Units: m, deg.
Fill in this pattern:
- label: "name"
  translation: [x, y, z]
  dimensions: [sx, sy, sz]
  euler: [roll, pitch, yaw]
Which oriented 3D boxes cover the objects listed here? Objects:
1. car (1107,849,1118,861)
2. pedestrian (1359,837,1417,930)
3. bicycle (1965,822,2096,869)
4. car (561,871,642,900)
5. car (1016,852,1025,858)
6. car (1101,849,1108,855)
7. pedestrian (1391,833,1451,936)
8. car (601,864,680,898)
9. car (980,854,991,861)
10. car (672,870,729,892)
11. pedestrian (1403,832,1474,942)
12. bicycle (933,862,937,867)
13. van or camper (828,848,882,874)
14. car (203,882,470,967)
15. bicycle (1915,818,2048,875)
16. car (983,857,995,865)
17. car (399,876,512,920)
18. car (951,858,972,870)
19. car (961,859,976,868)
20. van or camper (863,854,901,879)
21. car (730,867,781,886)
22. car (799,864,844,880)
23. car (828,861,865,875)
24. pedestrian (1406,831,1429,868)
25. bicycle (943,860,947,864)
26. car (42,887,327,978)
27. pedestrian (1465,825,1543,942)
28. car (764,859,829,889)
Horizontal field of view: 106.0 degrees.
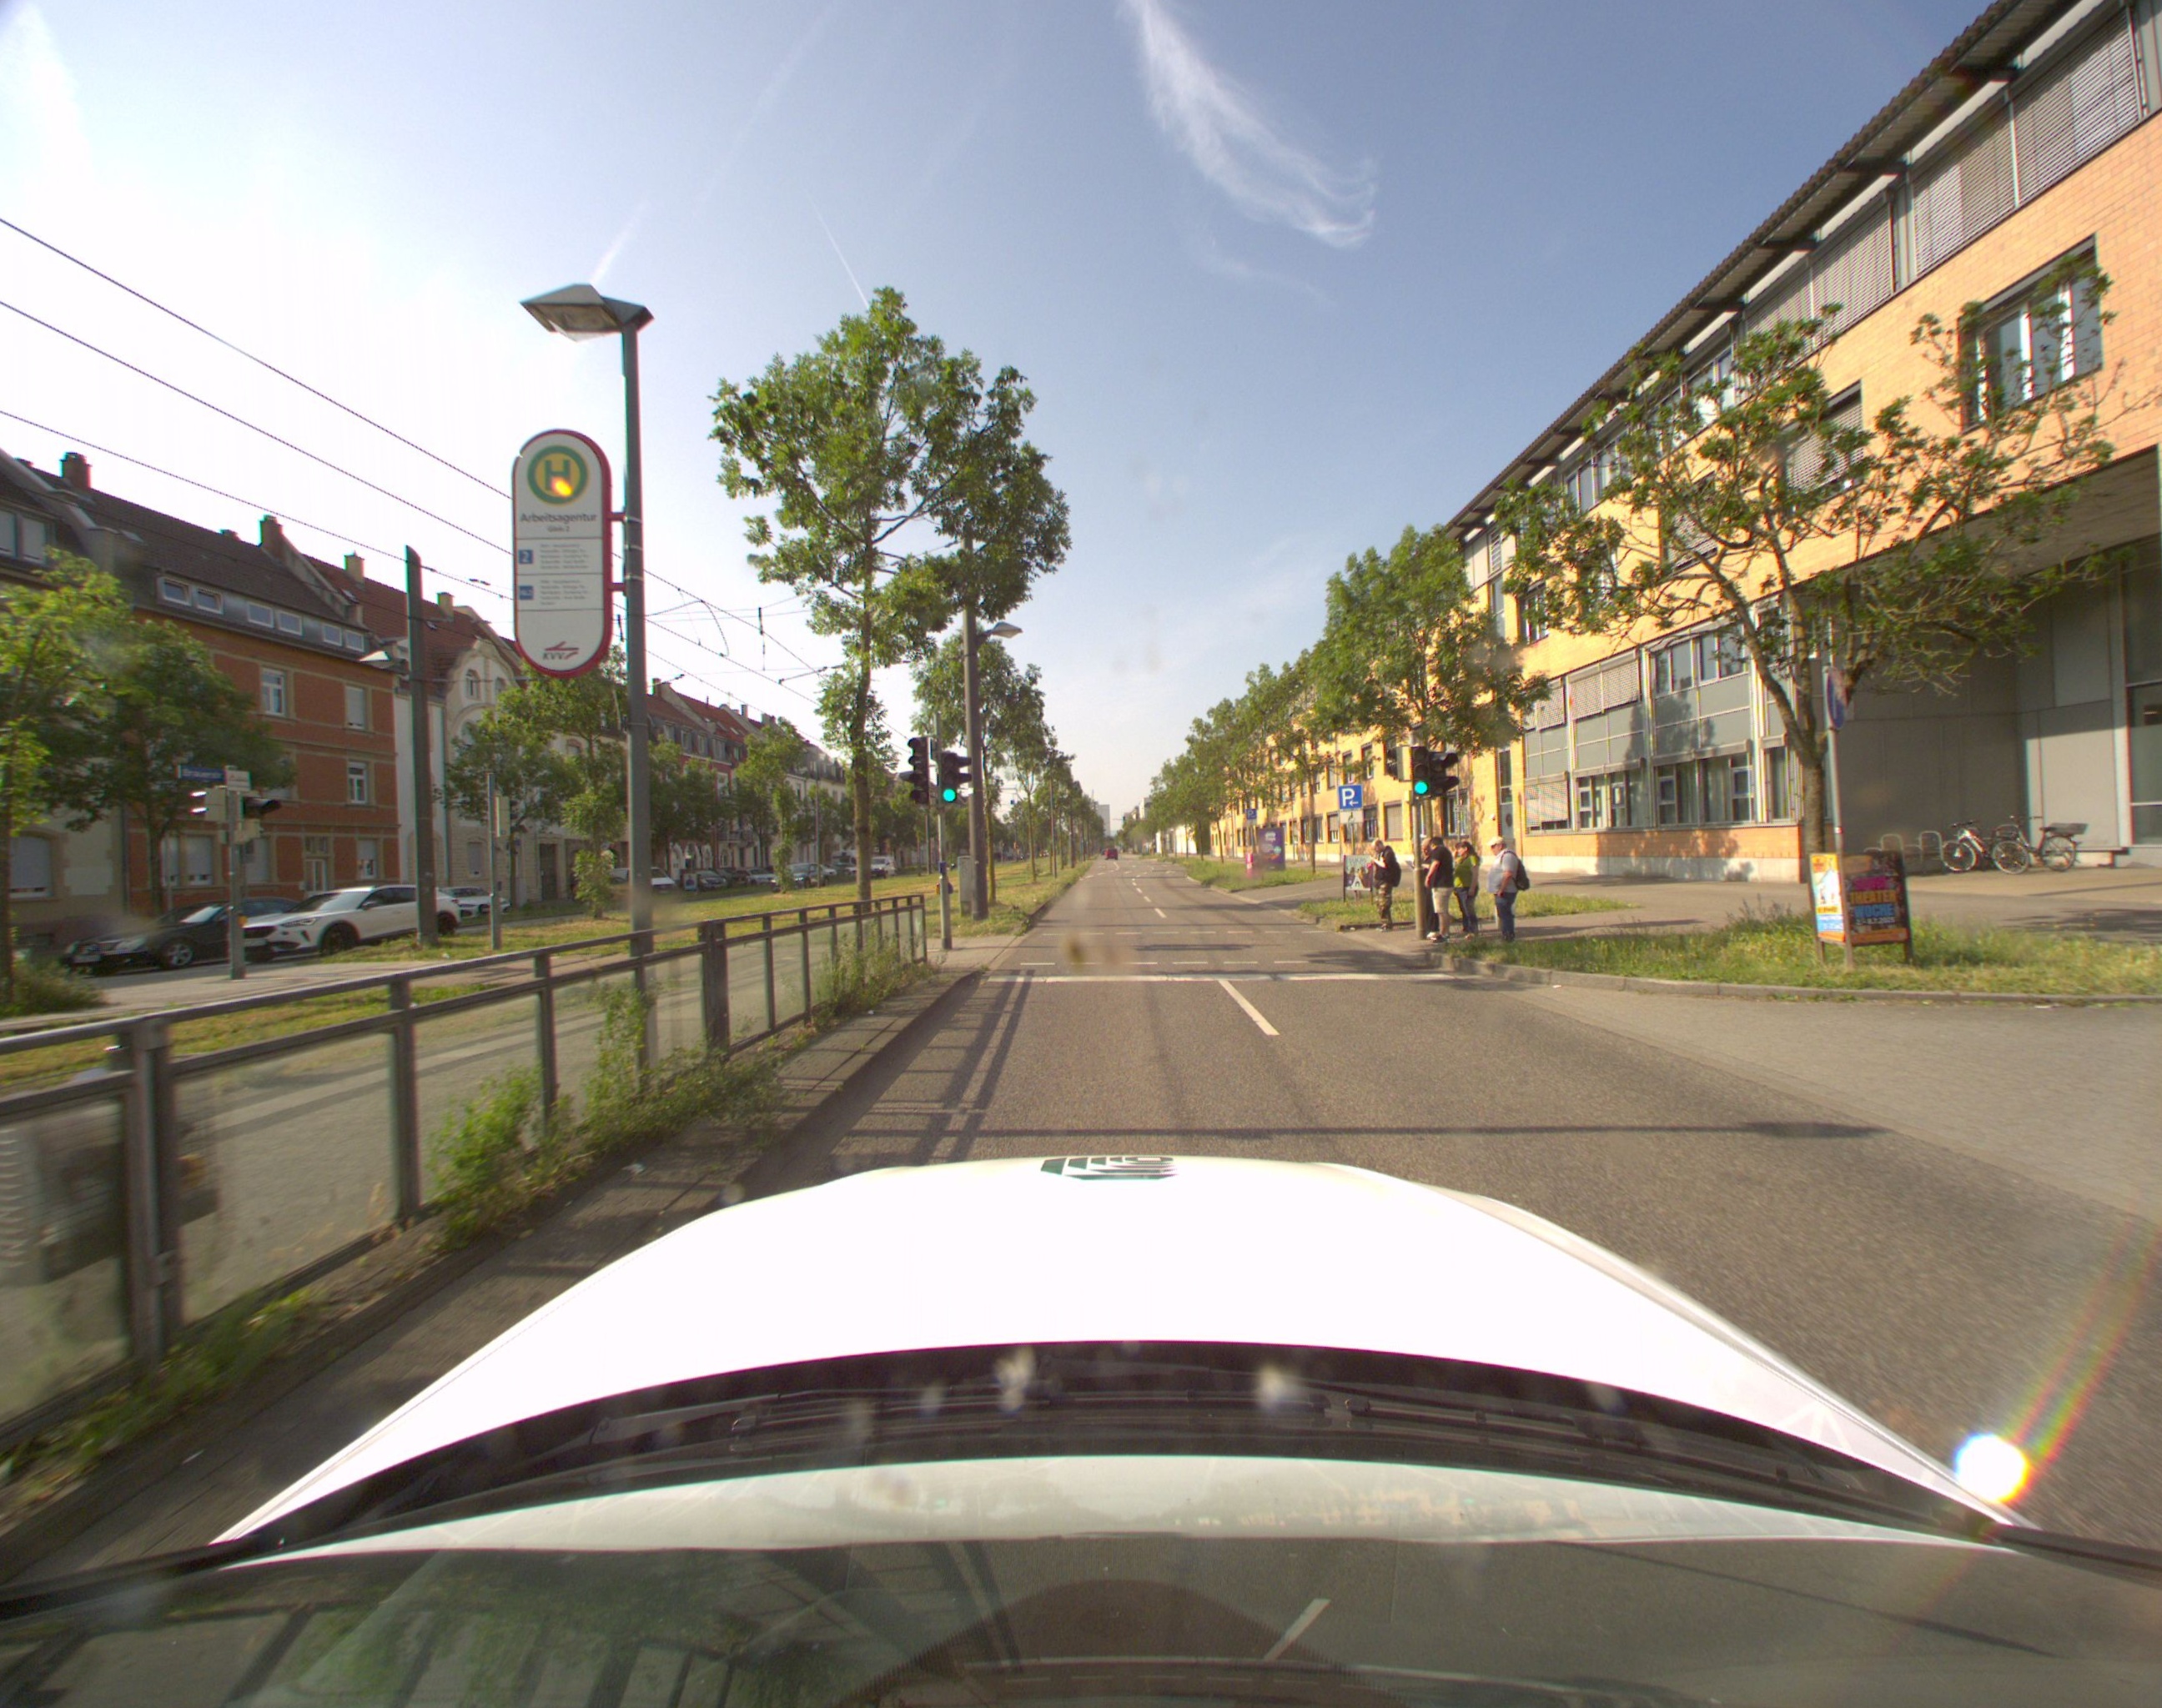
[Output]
- label: "car"
  translation: [5.144, 0.171, 131.145]
  dimensions: [1.741, 2.014, 3.217]
  euler: [0, 0, 2]
- label: "pedestrian"
  translation: [5.660, 0.532, 15.027]
  dimensions: [0.703, 1.646, 0.689]
  euler: [-4, 0, -1]
- label: "bicycle"
  translation: [19.296, -0.155, 16.610]
  dimensions: [0.525, 0.890, 1.838]
  euler: [-2, 0, 2]
- label: "car"
  translation: [-24.736, 1.572, 41.960]
  dimensions: [4.639, 1.348, 1.869]
  euler: [0, 0, 36]
- label: "car"
  translation: [-14.778, 0.357, 197.567]
  dimensions: [1.806, 1.433, 3.926]
  euler: [0, 0, 1]
- label: "car"
  translation: [6.288, -0.547, 215.280]
  dimensions: [1.741, 1.505, 3.217]
  euler: [0, 0, 2]
- label: "pedestrian"
  translation: [5.694, 0.506, 13.675]
  dimensions: [0.633, 1.646, 0.608]
  euler: [-4, -1, -3]
- label: "car"
  translation: [-24.134, 1.443, 44.564]
  dimensions: [4.888, 1.726, 1.869]
  euler: [0, 0, 36]
- label: "car"
  translation: [-22.012, 0.839, 187.466]
  dimensions: [1.987, 1.628, 4.774]
  euler: [0, 0, 0]
- label: "car"
  translation: [-23.667, 1.653, 50.588]
  dimensions: [3.639, 1.241, 1.536]
  euler: [0, 2, 35]
- label: "pedestrian"
  translation: [5.633, 0.509, 12.864]
  dimensions: [0.703, 1.646, 0.689]
  euler: [-4, 0, -1]
- label: "bicycle"
  translation: [-26.415, 1.915, 147.362]
  dimensions: [0.436, 0.789, 1.947]
  euler: [0, 0, 0]
- label: "van or camper"
  translation: [-23.415, 0.688, 84.186]
  dimensions: [5.849, 2.573, 2.213]
  euler: [0, -1, 36]
- label: "car"
  translation: [-16.362, 1.463, 18.284]
  dimensions: [1.765, 1.440, 4.425]
  euler: [-4, 0, 1]
- label: "bicycle"
  translation: [18.381, -0.150, 16.691]
  dimensions: [0.648, 1.041, 1.838]
  euler: [-5, 0, 2]
- label: "car"
  translation: [-18.008, 1.346, 159.497]
  dimensions: [1.758, 1.655, 4.001]
  euler: [0, 0, 1]
- label: "car"
  translation: [-24.529, 1.733, 31.902]
  dimensions: [4.715, 1.485, 2.036]
  euler: [-4, -2, 33]
- label: "car"
  translation: [-17.303, 1.416, 118.327]
  dimensions: [1.985, 1.630, 5.384]
  euler: [0, 0, 3]
- label: "car"
  translation: [-18.470, 1.590, 134.205]
  dimensions: [1.942, 1.459, 4.646]
  euler: [0, 0, -1]
- label: "van or camper"
  translation: [-17.694, 1.090, 72.603]
  dimensions: [1.944, 2.097, 5.353]
  euler: [0, 0, 1]
- label: "car"
  translation: [-22.921, 1.574, 57.296]
  dimensions: [3.639, 1.241, 1.673]
  euler: [0, 0, 36]
- label: "car"
  translation: [-22.457, 1.526, 70.346]
  dimensions: [3.963, 1.316, 1.673]
  euler: [0, 0, 36]
- label: "car"
  translation: [-23.309, 1.366, 80.851]
  dimensions: [3.639, 1.331, 1.673]
  euler: [0, 0, 36]
- label: "pedestrian"
  translation: [15.068, -0.189, 36.470]
  dimensions: [0.693, 1.656, 0.773]
  euler: [0, -1, 1]
- label: "bicycle"
  translation: [-25.795, 1.486, 154.395]
  dimensions: [0.446, 0.857, 1.947]
  euler: [0, 0, 0]
- label: "car"
  translation: [-19.202, 1.600, 17.765]
  dimensions: [1.662, 1.514, 4.001]
  euler: [-3, 0, 1]
- label: "pedestrian"
  translation: [6.297, 0.432, 12.148]
  dimensions: [0.703, 1.646, 0.689]
  euler: [-4, 0, -1]
- label: "car"
  translation: [-15.598, 1.055, 44.878]
  dimensions: [1.828, 1.533, 4.578]
  euler: [0, 0, 1]
